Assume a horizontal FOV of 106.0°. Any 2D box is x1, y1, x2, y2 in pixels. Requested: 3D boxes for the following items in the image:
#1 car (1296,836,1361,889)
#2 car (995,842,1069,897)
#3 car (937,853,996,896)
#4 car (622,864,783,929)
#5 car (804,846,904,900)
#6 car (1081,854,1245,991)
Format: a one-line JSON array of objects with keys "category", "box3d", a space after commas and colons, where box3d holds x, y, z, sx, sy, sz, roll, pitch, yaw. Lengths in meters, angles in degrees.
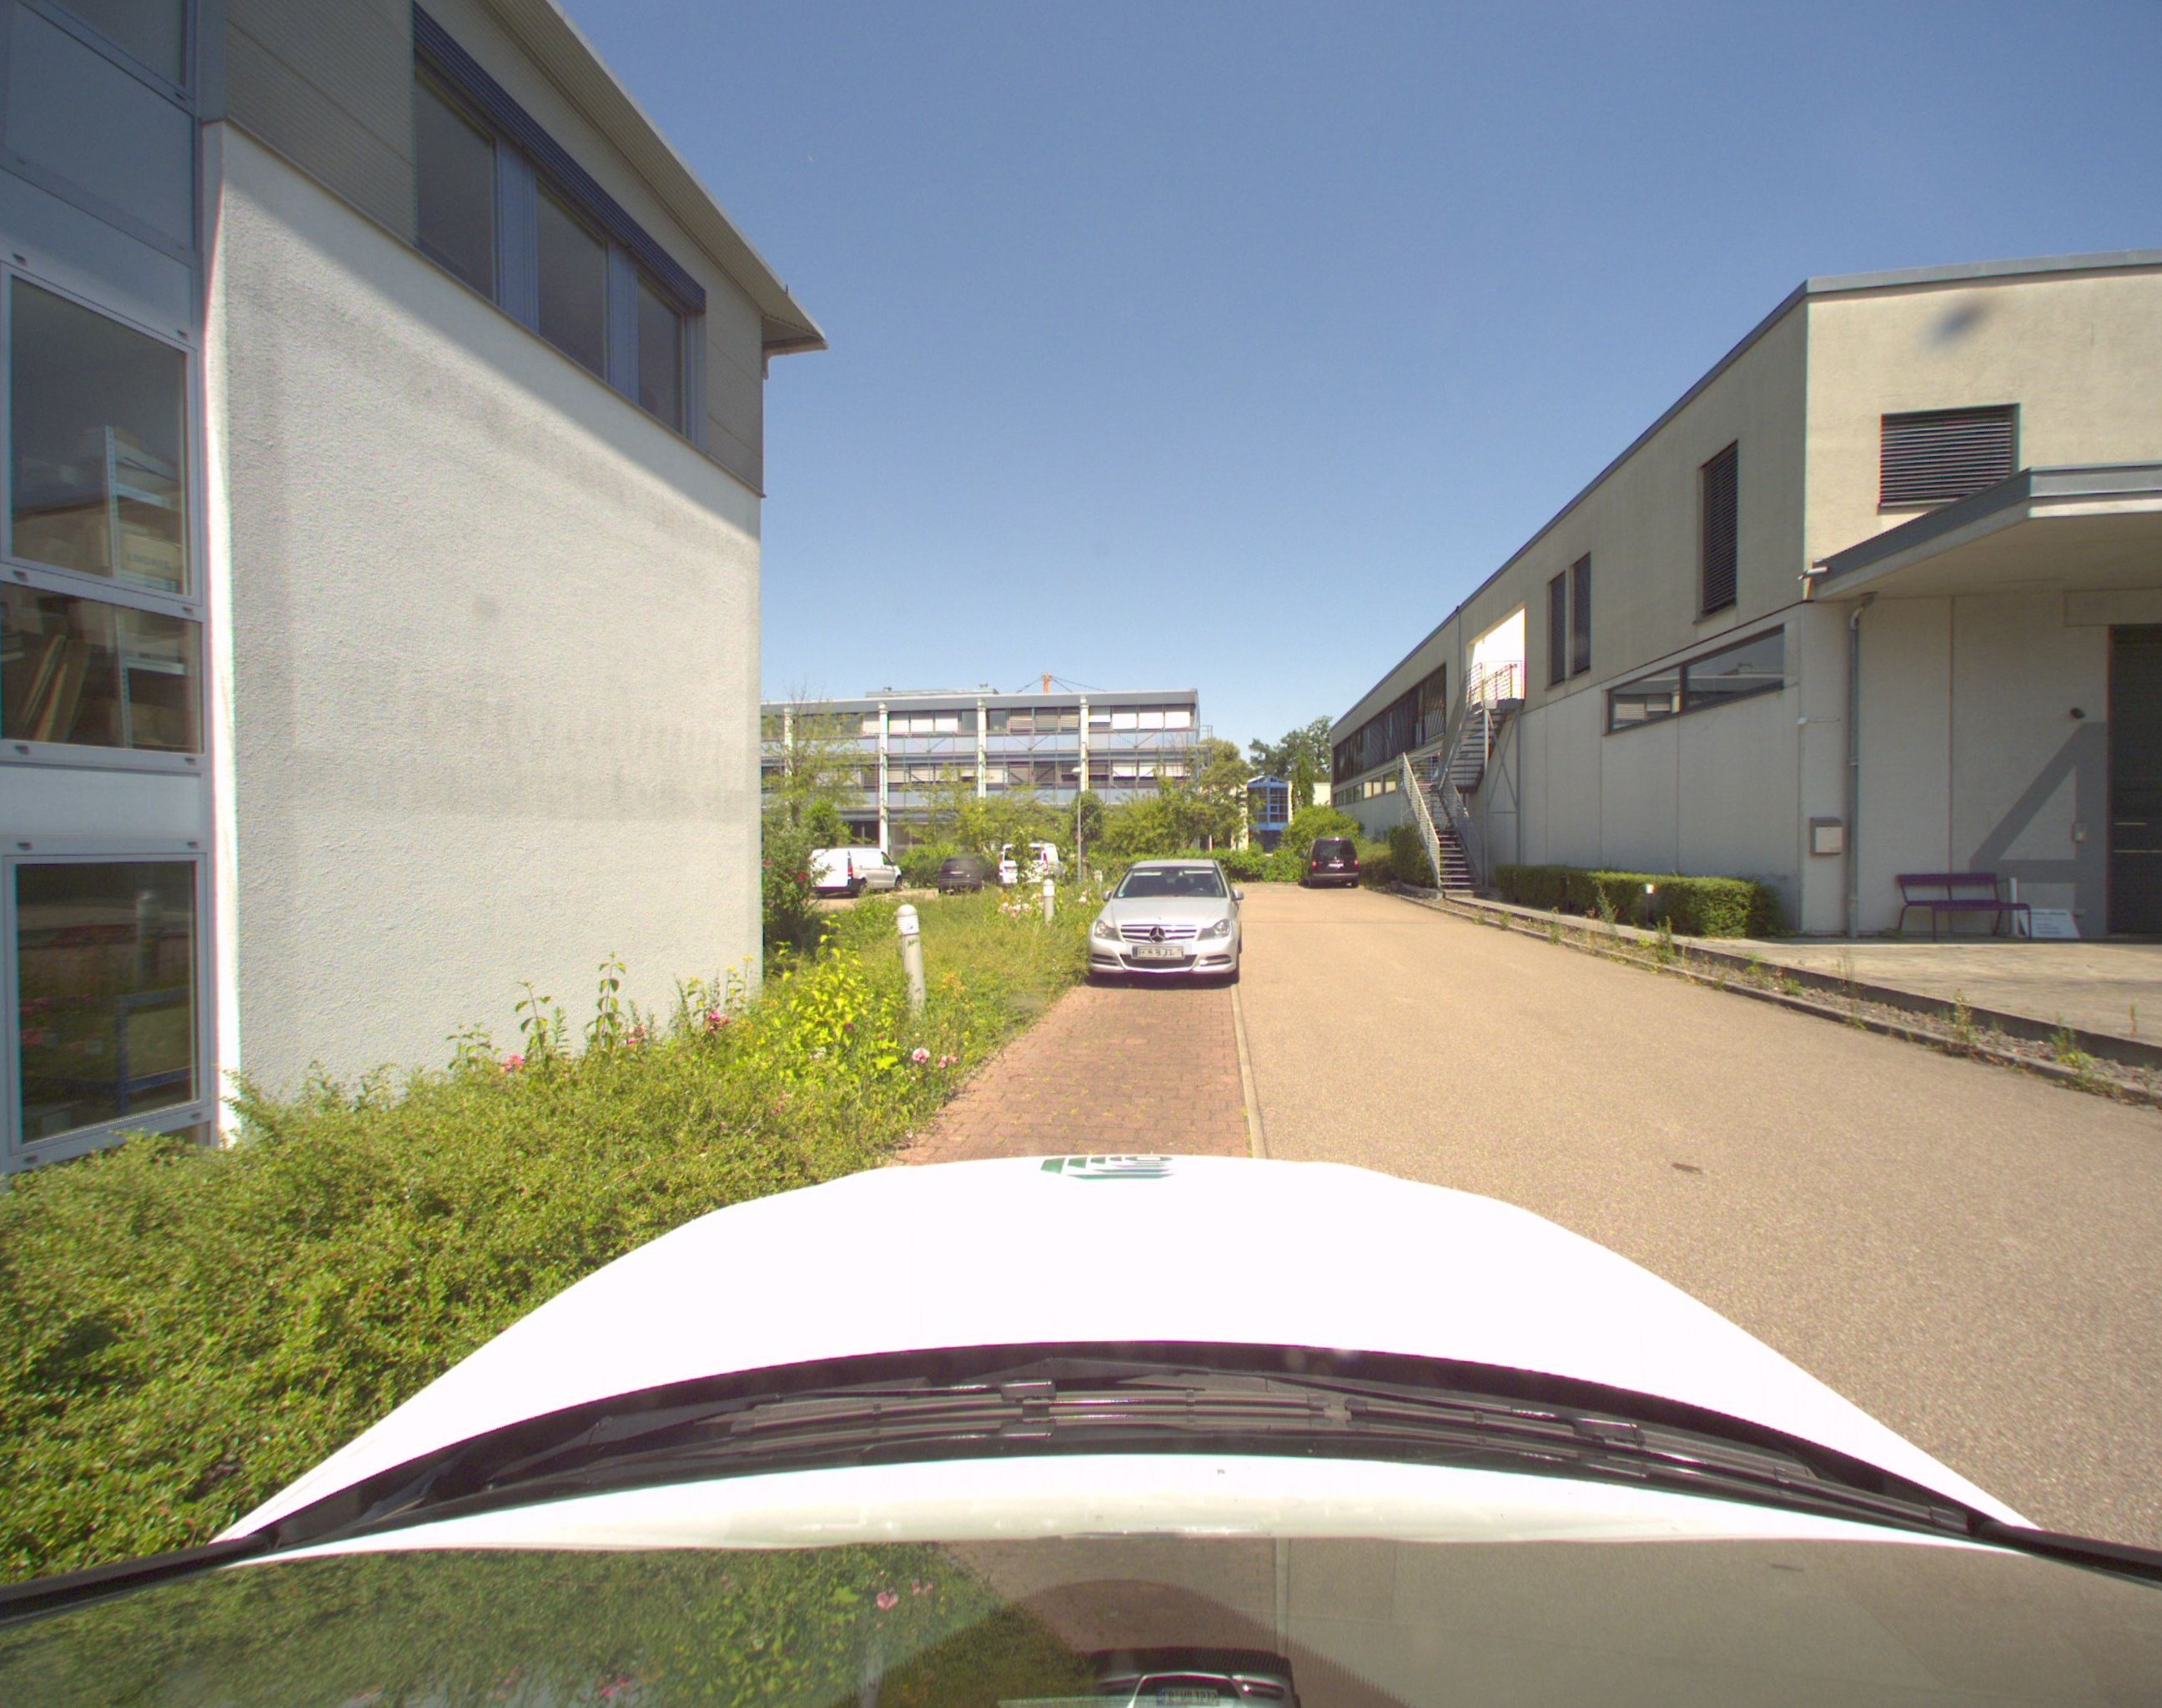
[{"category": "car", "box3d": [9.261, 0.270, 30.774, 1.733, 1.837, 4.010, -2, 0, 8]}, {"category": "car", "box3d": [-1.801, 0.522, 31.604, 1.902, 1.905, 4.819, -2, 1, 8]}, {"category": "car", "box3d": [-4.485, 0.776, 32.314, 1.749, 1.476, 3.999, -2, 1, 0]}, {"category": "car", "box3d": [-10.311, 1.097, 22.647, 1.846, 1.472, 4.495, -1, 1, 8]}, {"category": "car", "box3d": [-8.945, 0.685, 32.575, 1.870, 1.891, 4.818, -1, 1, 10]}, {"category": "car", "box3d": [1.283, 0.756, 10.918, 1.717, 1.457, 4.161, -2, 0, 12]}]
